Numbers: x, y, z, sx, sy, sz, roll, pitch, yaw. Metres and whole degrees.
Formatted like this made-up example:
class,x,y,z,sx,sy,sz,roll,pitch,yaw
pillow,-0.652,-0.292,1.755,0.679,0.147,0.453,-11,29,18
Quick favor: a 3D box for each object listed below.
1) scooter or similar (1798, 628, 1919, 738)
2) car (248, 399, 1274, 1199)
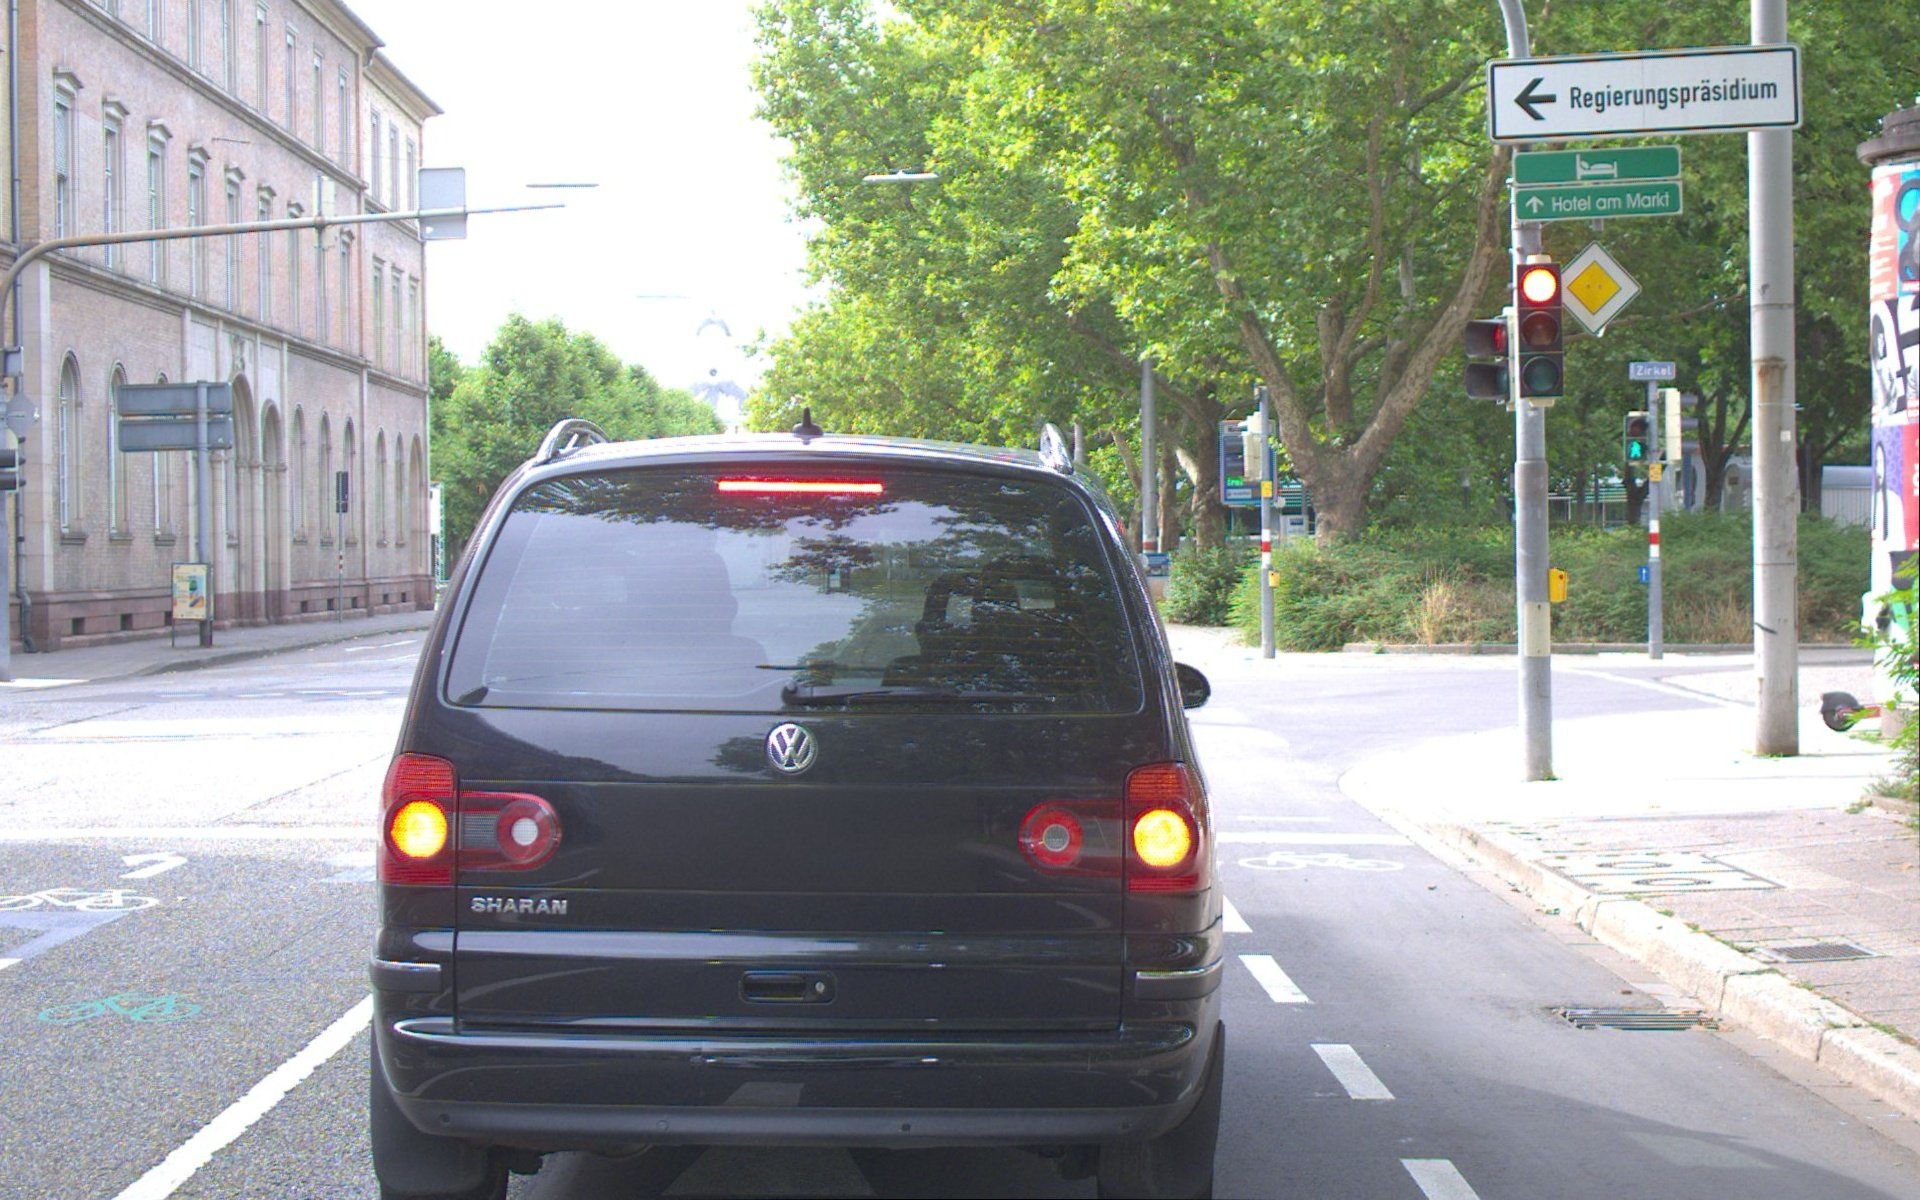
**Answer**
class,x,y,z,sx,sy,sz,roll,pitch,yaw
scooter or similar,6.431,0.566,23.695,1.219,0.734,0.369,-1,1,-1
car,-0.317,0.463,8.593,1.874,1.739,4.573,0,1,1
